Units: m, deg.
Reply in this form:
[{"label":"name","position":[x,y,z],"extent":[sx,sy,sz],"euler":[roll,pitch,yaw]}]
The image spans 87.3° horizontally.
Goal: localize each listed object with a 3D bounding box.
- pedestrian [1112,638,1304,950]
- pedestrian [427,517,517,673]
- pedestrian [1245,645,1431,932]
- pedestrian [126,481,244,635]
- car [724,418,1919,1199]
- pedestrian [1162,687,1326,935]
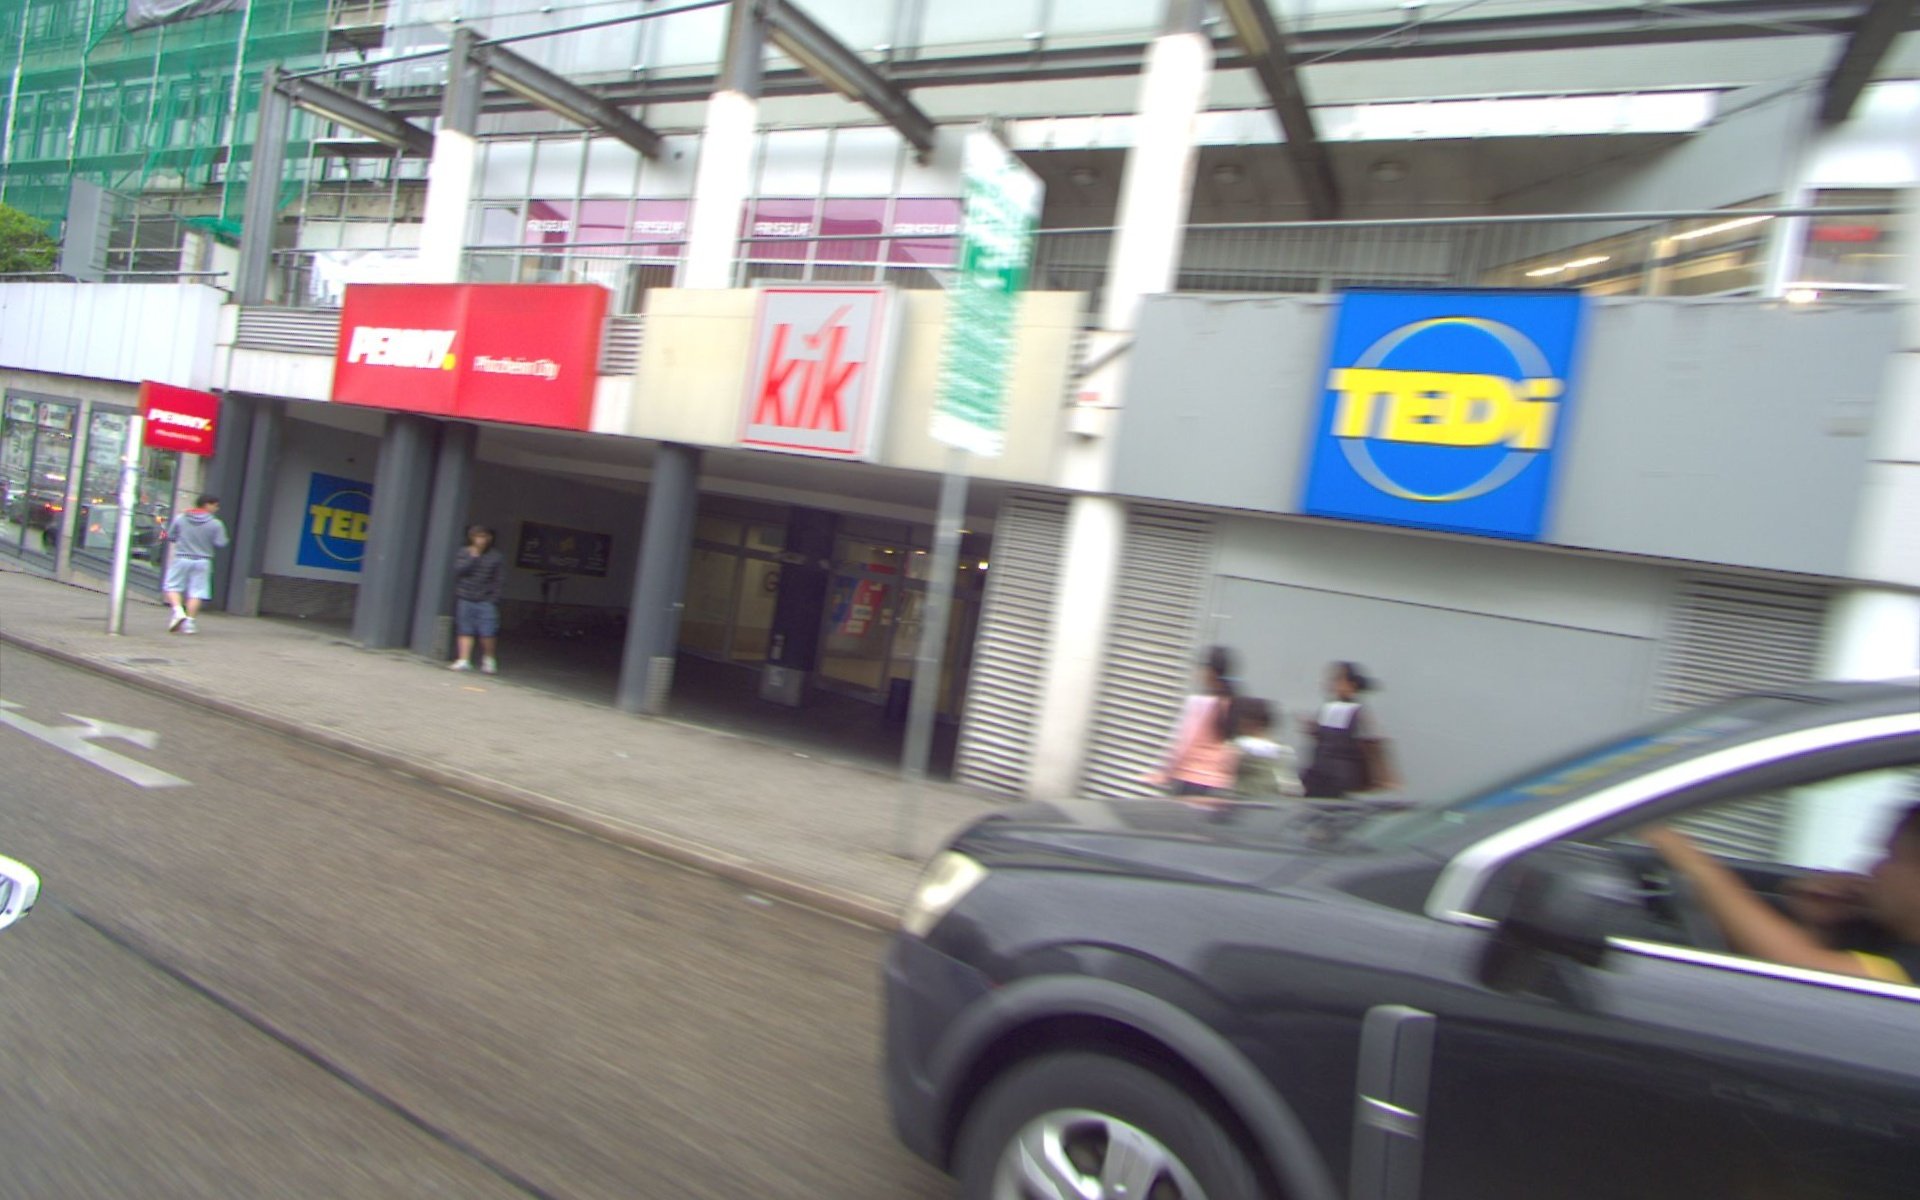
[{"label":"pedestrian","position":[1.321,0.967,5.336],"extent":[0.588,1.457,0.745],"euler":[8,3,37]},{"label":"pedestrian","position":[-5.796,-0.063,11.986],"extent":[0.660,1.737,0.815],"euler":[7,2,-15]},{"label":"pedestrian","position":[2.255,1.061,5.975],"extent":[0.693,1.486,0.772],"euler":[8,2,35]},{"label":"pedestrian","position":[-9.498,-0.507,12.336],"extent":[0.816,1.744,0.835],"euler":[8,2,37]},{"label":"car","position":[1.833,0.808,2.128],"extent":[4.228,1.807,1.910],"euler":[8,1,30]},{"label":"pedestrian","position":[1.615,1.144,5.696],"extent":[0.545,1.223,0.690],"euler":[8,2,37]}]
